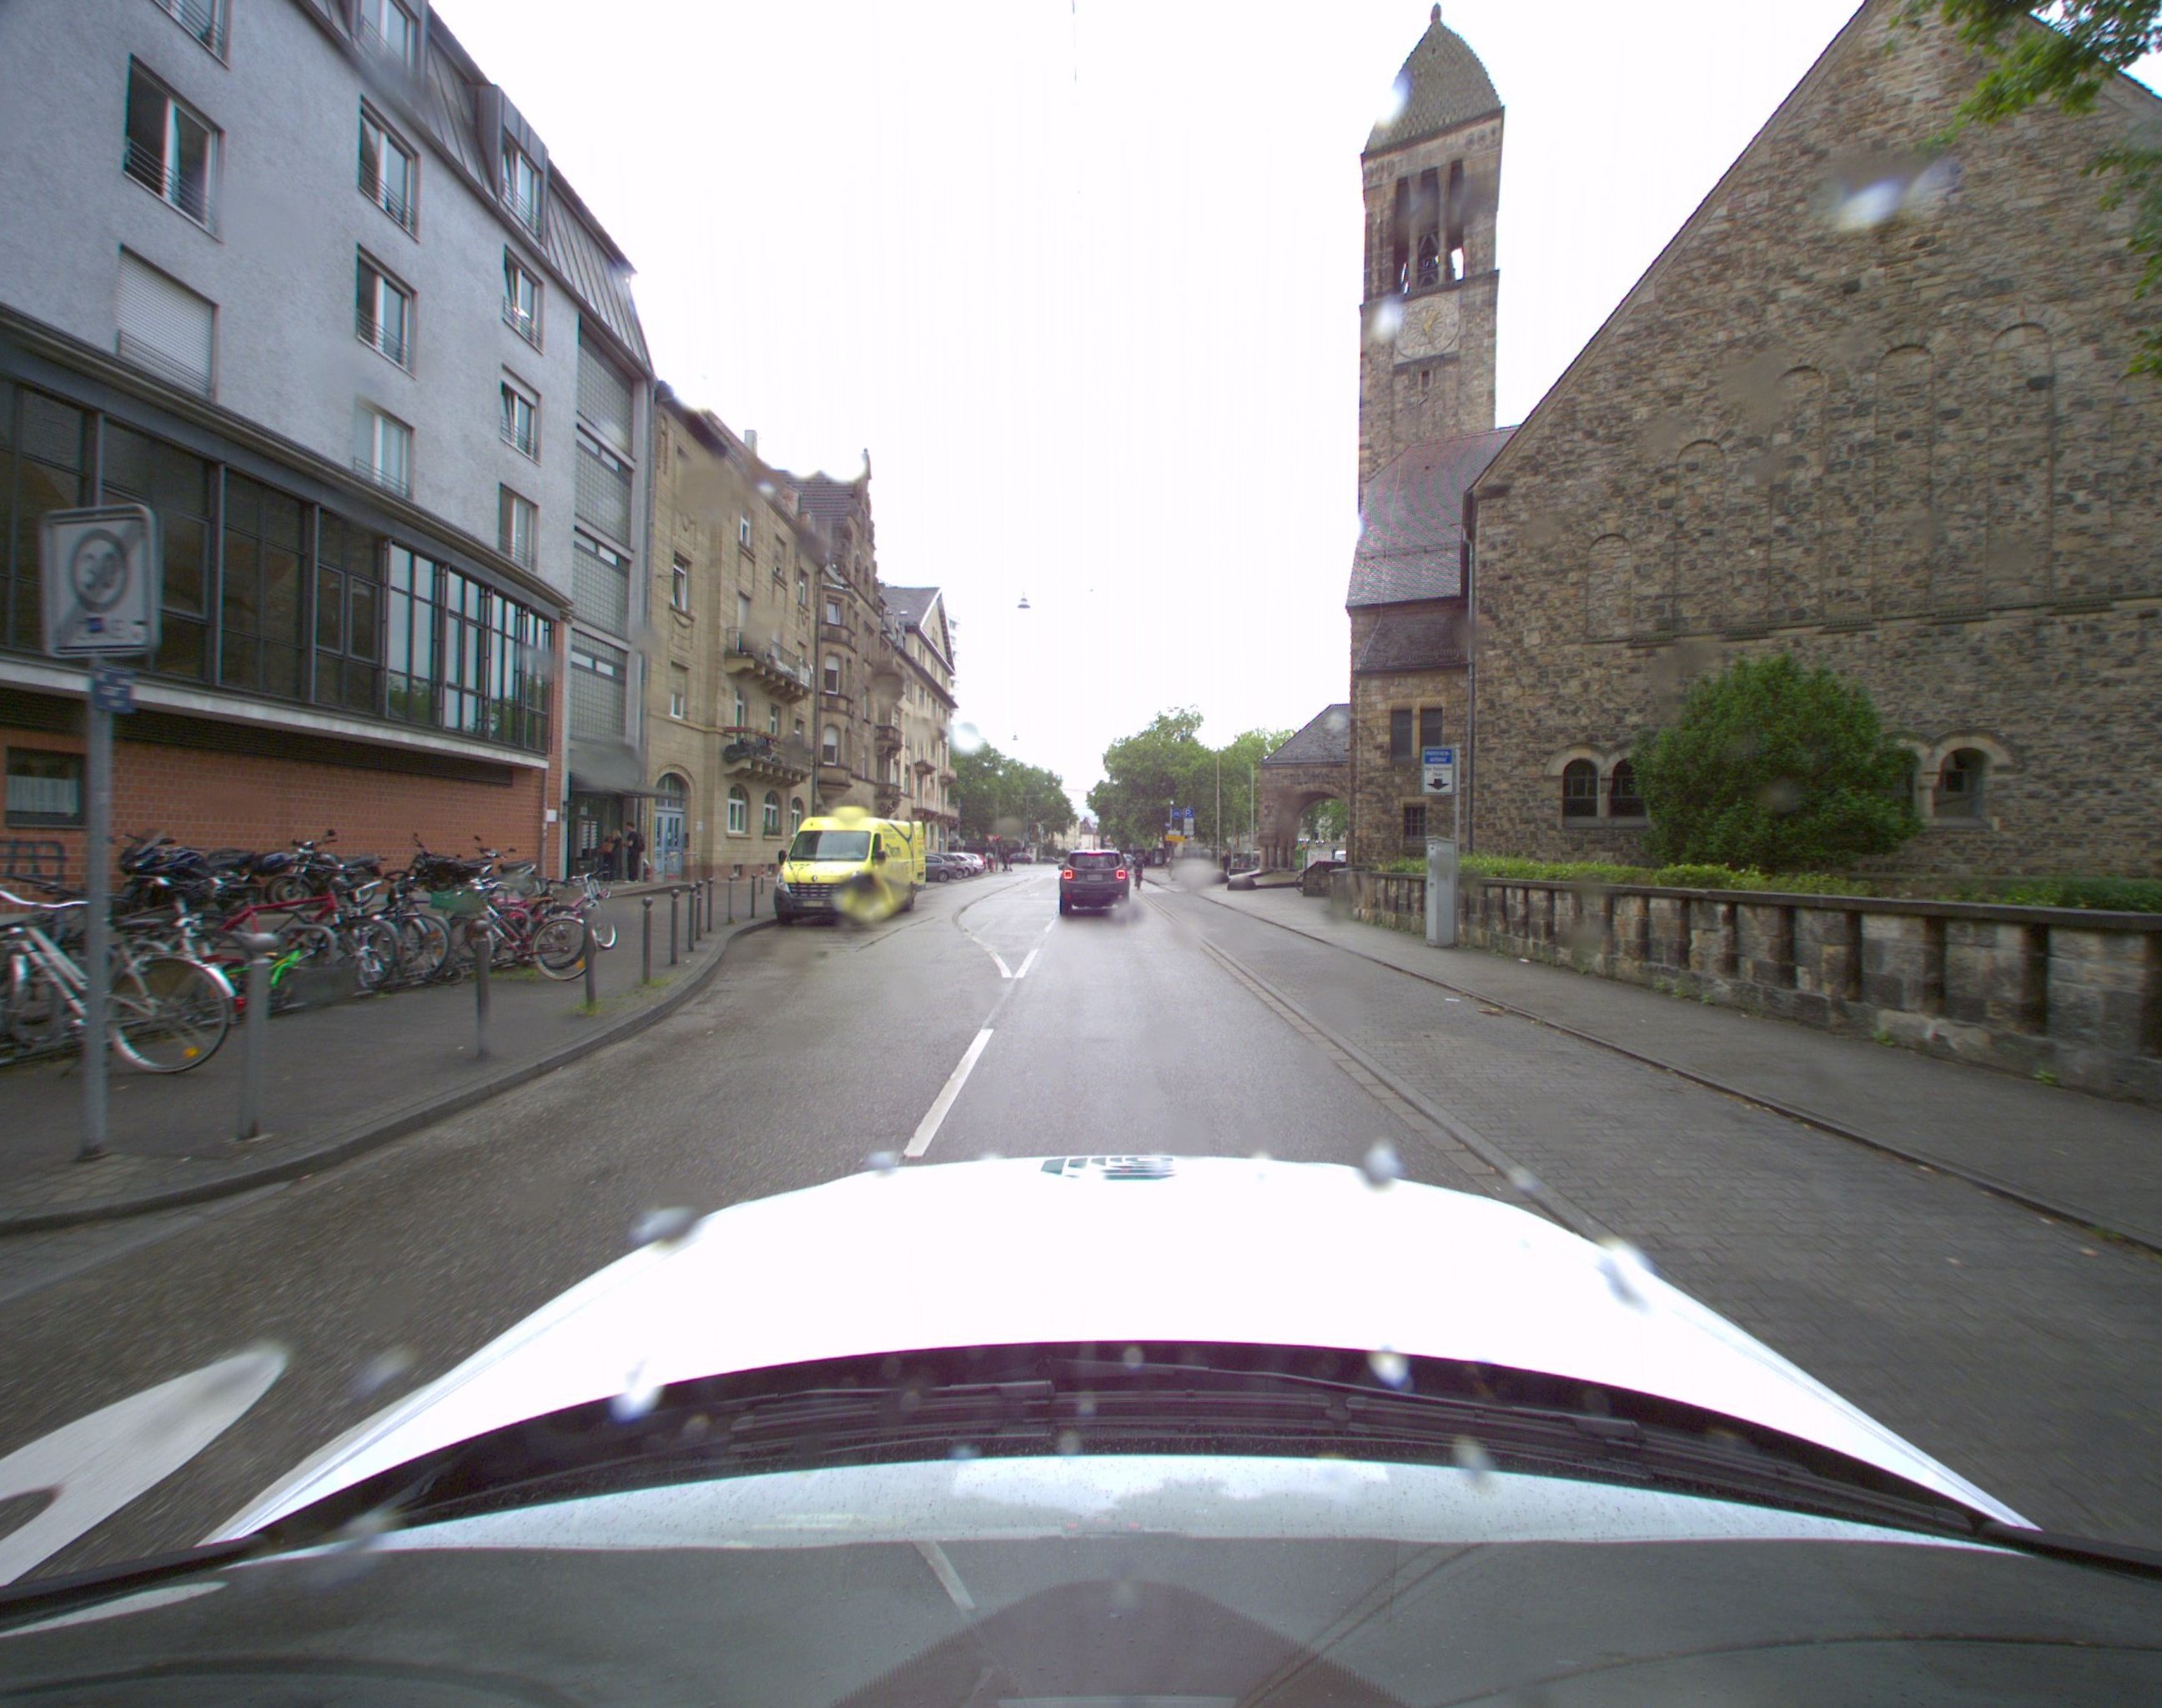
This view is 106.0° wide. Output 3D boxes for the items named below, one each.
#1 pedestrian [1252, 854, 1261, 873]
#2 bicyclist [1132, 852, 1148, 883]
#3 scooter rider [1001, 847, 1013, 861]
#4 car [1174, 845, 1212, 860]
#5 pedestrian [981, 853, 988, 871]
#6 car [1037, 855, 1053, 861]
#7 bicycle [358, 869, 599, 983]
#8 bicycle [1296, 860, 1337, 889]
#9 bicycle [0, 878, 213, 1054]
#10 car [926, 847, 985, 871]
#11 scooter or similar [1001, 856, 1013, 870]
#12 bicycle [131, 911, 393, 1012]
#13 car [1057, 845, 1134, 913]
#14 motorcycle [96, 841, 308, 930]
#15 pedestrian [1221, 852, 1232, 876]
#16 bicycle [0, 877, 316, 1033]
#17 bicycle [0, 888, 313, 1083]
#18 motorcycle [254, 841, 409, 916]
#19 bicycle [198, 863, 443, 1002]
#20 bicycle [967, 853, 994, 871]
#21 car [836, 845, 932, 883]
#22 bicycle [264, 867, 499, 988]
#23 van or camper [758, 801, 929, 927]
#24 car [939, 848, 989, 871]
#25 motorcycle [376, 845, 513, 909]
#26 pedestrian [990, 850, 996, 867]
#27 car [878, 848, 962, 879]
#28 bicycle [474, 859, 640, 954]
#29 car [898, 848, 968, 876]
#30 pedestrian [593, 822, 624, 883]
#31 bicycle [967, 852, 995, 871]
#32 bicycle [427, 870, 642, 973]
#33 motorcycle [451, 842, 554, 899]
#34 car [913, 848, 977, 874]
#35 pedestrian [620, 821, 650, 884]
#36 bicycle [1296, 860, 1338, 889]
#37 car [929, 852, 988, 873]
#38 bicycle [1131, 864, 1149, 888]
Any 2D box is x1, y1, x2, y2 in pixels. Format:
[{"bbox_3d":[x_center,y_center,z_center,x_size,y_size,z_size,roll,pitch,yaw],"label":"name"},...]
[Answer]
[{"bbox_3d":[15.905,0.894,73.679,0.676,1.711,0.696,0,0,19],"label":"pedestrian"},{"bbox_3d":[2.714,0.623,37.485,0.702,1.403,1.171,0,0,1],"label":"bicyclist"},{"bbox_3d":[-6.322,0.008,69.508,0.877,1.220,0.984,1,-2,1],"label":"scooter rider"},{"bbox_3d":[17.338,-0.175,126.267,5.878,2.334,2.062,0,0,4],"label":"car"},{"bbox_3d":[-8.825,0.747,74.460,0.466,1.585,0.659,0,0,0],"label":"pedestrian"},{"bbox_3d":[-8.204,0.917,185.032,3.447,1.501,1.547,0,0,11],"label":"car"},{"bbox_3d":[-6.483,0.761,8.823,2.125,1.097,0.594,2,0,1],"label":"bicycle"},{"bbox_3d":[9.113,0.800,31.533,1.474,1.102,0.365,0,0,21],"label":"bicycle"},{"bbox_3d":[-7.123,0.738,5.550,1.719,1.097,0.506,2,0,-5],"label":"bicycle"},{"bbox_3d":[-8.826,0.350,57.303,3.755,1.558,1.655,2,-1,-33],"label":"car"},{"bbox_3d":[-6.311,0.766,69.480,0.848,1.212,0.986,0,-2,1],"label":"scooter or similar"},{"bbox_3d":[-7.016,0.910,7.014,1.716,0.731,0.506,2,0,0],"label":"bicycle"},{"bbox_3d":[0.348,0.620,22.180,1.893,1.671,4.504,0,0,0],"label":"car"},{"bbox_3d":[-12.942,0.424,12.118,0.750,1.174,2.116,3,0,1],"label":"motorcycle"},{"bbox_3d":[10.327,0.699,57.818,0.688,1.711,0.684,0,0,1],"label":"pedestrian"},{"bbox_3d":[-7.044,0.761,6.233,1.721,1.097,0.505,2,0,-8],"label":"bicycle"},{"bbox_3d":[-5.977,0.800,5.096,1.719,1.097,0.506,2,0,-5],"label":"bicycle"},{"bbox_3d":[-13.030,0.396,14.270,0.751,1.174,2.113,3,0,-3],"label":"motorcycle"},{"bbox_3d":[-7.068,0.704,7.606,1.794,1.167,0.568,2,0,4],"label":"bicycle"},{"bbox_3d":[-8.017,0.609,65.090,2.099,1.444,0.487,0,0,-20],"label":"bicycle"},{"bbox_3d":[-8.738,0.463,36.217,3.680,1.558,1.780,2,-1,-36],"label":"car"},{"bbox_3d":[-7.032,0.724,8.228,1.907,1.097,0.506,2,0,1],"label":"bicycle"},{"bbox_3d":[-5.608,0.318,20.461,2.114,2.531,6.873,-3,-2,0],"label":"van or camper"},{"bbox_3d":[-8.705,0.411,60.606,3.267,1.558,1.519,2,-1,-33],"label":"car"},{"bbox_3d":[-12.728,0.439,16.393,0.748,1.174,2.123,3,0,13],"label":"motorcycle"},{"bbox_3d":[-8.087,0.434,74.812,0.466,1.585,0.752,0,0,0],"label":"pedestrian"},{"bbox_3d":[-8.429,0.510,42.696,3.873,1.479,1.863,2,-1,-40],"label":"car"},{"bbox_3d":[-7.146,0.711,11.175,1.820,1.213,0.624,3,-2,-35],"label":"bicycle"},{"bbox_3d":[-8.782,0.484,48.368,3.681,1.558,1.789,2,-1,-36],"label":"car"},{"bbox_3d":[-13.399,-0.045,23.092,0.663,1.675,0.790,0,0,-23],"label":"pedestrian"},{"bbox_3d":[-7.890,0.579,64.098,2.116,1.444,0.535,0,0,-20],"label":"bicycle"},{"bbox_3d":[-6.434,0.780,9.649,2.109,1.097,0.594,2,0,1],"label":"bicycle"},{"bbox_3d":[-12.880,0.362,18.189,0.566,1.174,1.790,3,0,24],"label":"motorcycle"},{"bbox_3d":[-8.585,0.438,51.567,3.520,1.518,1.866,2,-1,-33],"label":"car"},{"bbox_3d":[-12.781,-0.047,23.364,0.663,1.757,0.790,0,0,-23],"label":"pedestrian"},{"bbox_3d":[9.026,0.786,31.125,1.510,1.102,0.365,0,0,21],"label":"bicycle"},{"bbox_3d":[-8.227,0.572,54.679,3.436,1.316,1.761,2,-1,-33],"label":"car"},{"bbox_3d":[2.711,1.008,37.477,0.702,1.054,1.813,0,0,1],"label":"bicycle"}]
